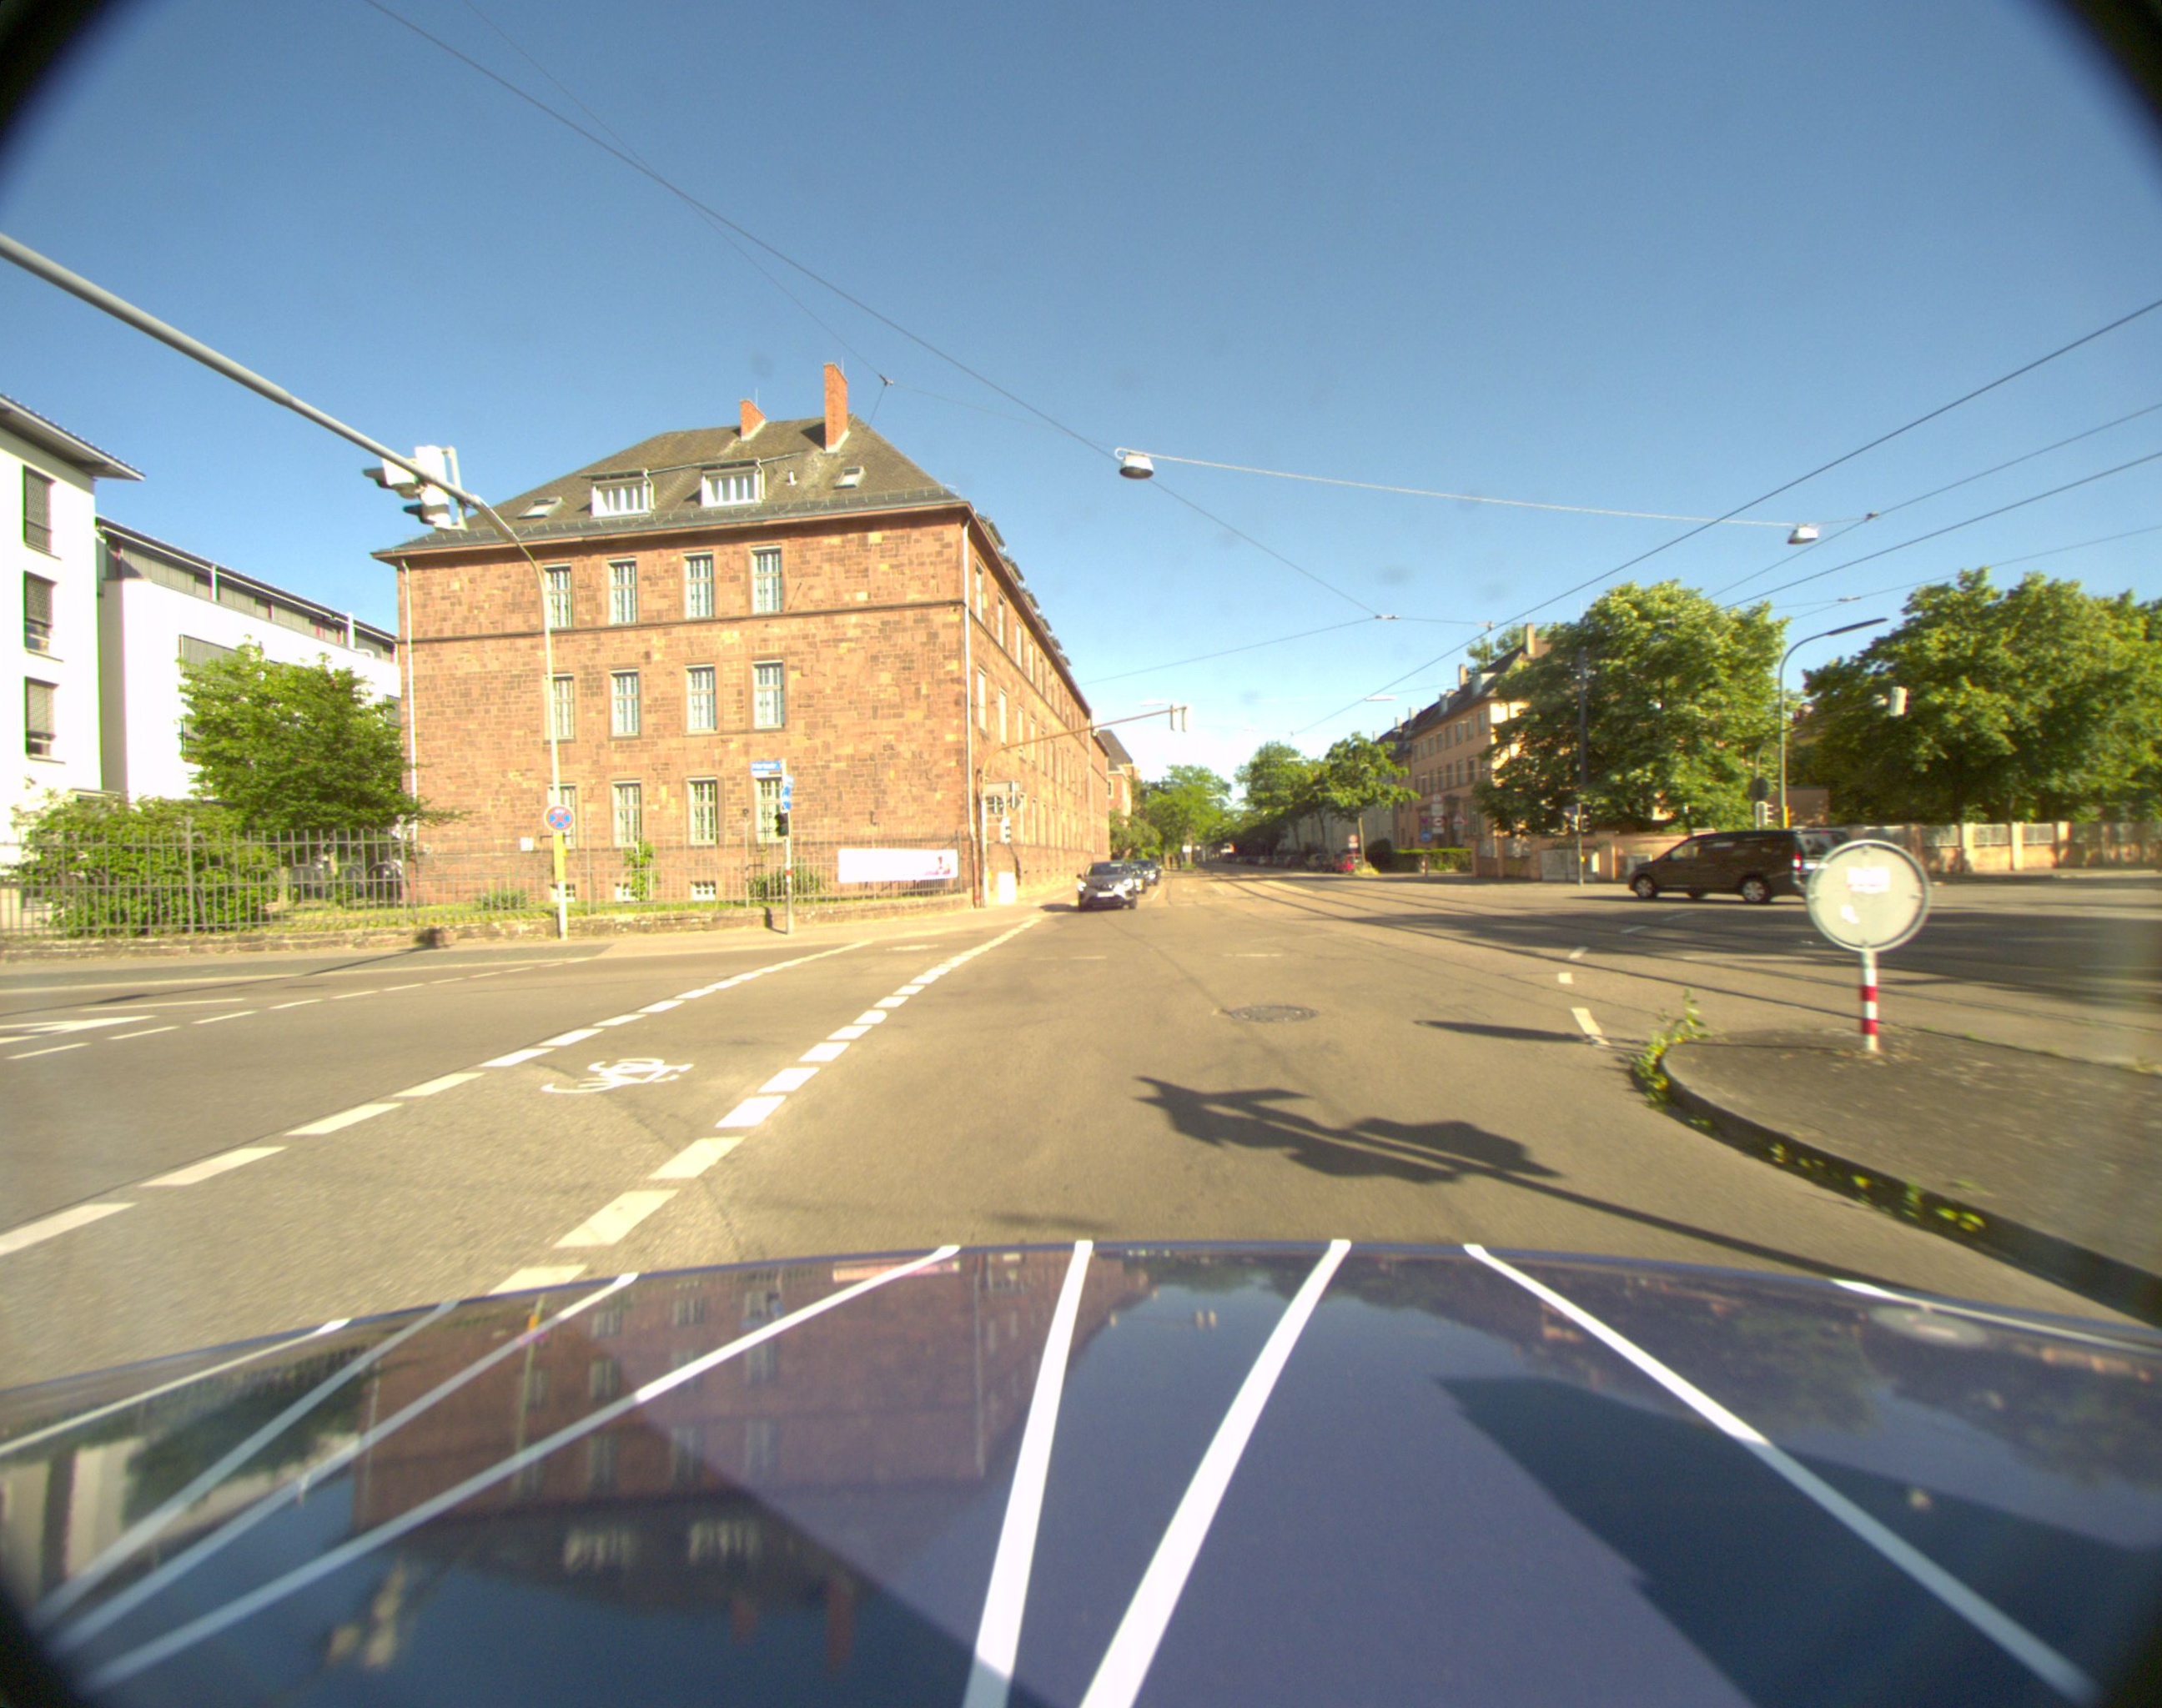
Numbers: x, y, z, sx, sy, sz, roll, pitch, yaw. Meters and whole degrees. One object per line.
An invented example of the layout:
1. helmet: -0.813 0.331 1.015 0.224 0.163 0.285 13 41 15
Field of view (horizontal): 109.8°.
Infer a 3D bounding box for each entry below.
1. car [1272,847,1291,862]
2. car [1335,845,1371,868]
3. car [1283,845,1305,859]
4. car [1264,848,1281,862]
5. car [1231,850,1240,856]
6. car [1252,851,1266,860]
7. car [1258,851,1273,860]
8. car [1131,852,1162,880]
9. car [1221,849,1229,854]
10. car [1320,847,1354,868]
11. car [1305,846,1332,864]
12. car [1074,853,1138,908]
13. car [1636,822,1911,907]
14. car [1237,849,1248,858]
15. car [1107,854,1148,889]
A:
1. car: 26.581 0.061 100.870 1.815 1.814 3.797 -1 0 6
2. car: 21.337 0.172 59.689 1.815 1.696 3.376 -1 0 4
3. car: 24.886 -0.233 88.943 1.815 1.589 3.632 -1 0 6
4. car: 27.644 0.105 109.801 1.815 1.929 3.632 -1 0 6
5. car: 36.556 -0.212 179.665 1.815 1.514 3.632 -1 0 6
6. car: 29.901 0.229 128.049 1.815 1.411 3.632 -1 0 6
7. car: 28.961 0.225 119.164 1.815 1.411 3.632 -1 0 6
8. car: 4.229 0.719 48.702 1.795 1.638 4.085 -3 0 6
9. car: 42.363 -0.653 223.726 1.815 1.411 3.632 -1 0 6
10. car: 21.617 0.307 64.238 1.815 1.648 3.821 -1 0 4
11. car: 22.807 0.082 72.970 1.815 1.648 3.879 -1 0 8
12. car: 0.900 0.800 24.979 1.795 1.595 3.801 -3 0 6
13. car: 16.633 0.215 18.728 1.999 1.756 5.029 -1 0 -3
14. car: 35.704 -0.086 168.037 1.815 1.768 3.632 -1 0 6
15. car: 2.349 0.823 37.607 1.795 1.595 3.801 -3 0 6
